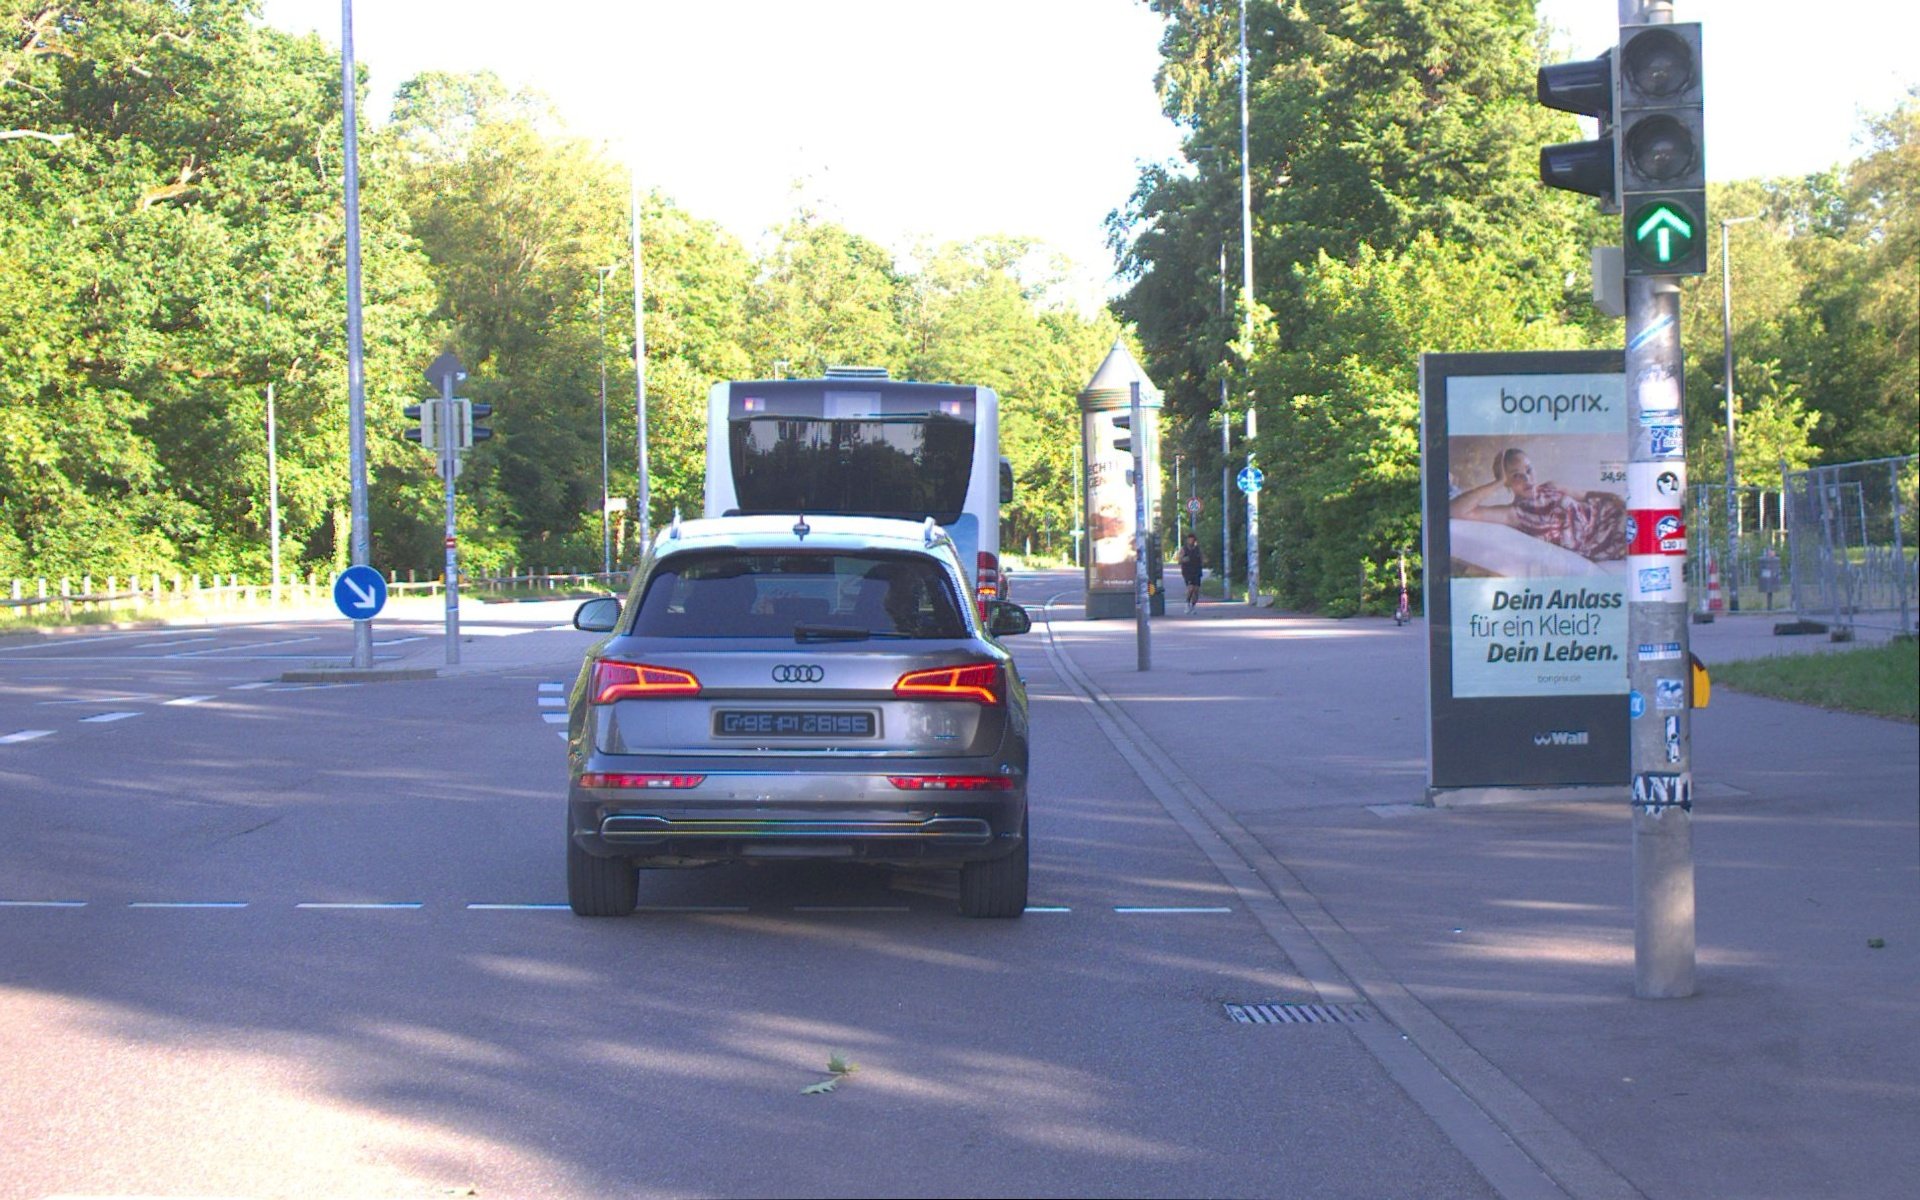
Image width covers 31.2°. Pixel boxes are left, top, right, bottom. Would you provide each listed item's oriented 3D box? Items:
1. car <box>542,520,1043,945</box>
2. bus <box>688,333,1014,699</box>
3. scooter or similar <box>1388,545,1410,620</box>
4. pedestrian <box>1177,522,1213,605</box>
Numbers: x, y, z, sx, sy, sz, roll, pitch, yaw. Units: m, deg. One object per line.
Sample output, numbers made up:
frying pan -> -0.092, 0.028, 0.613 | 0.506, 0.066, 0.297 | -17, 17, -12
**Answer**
car -> -0.673, 0.468, 15.422 | 1.893, 1.600, 4.545 | 1, 1, -1
bus -> -1.000, -0.781, 34.813 | 2.689, 3.032, 12.042 | 1, 1, -1
scooter or similar -> 7.064, -0.282, 55.326 | 0.281, 1.167, 1.408 | -2, 1, 9
pedestrian -> 4.849, -0.752, 70.900 | 0.626, 1.682, 0.882 | 1, 1, 9
